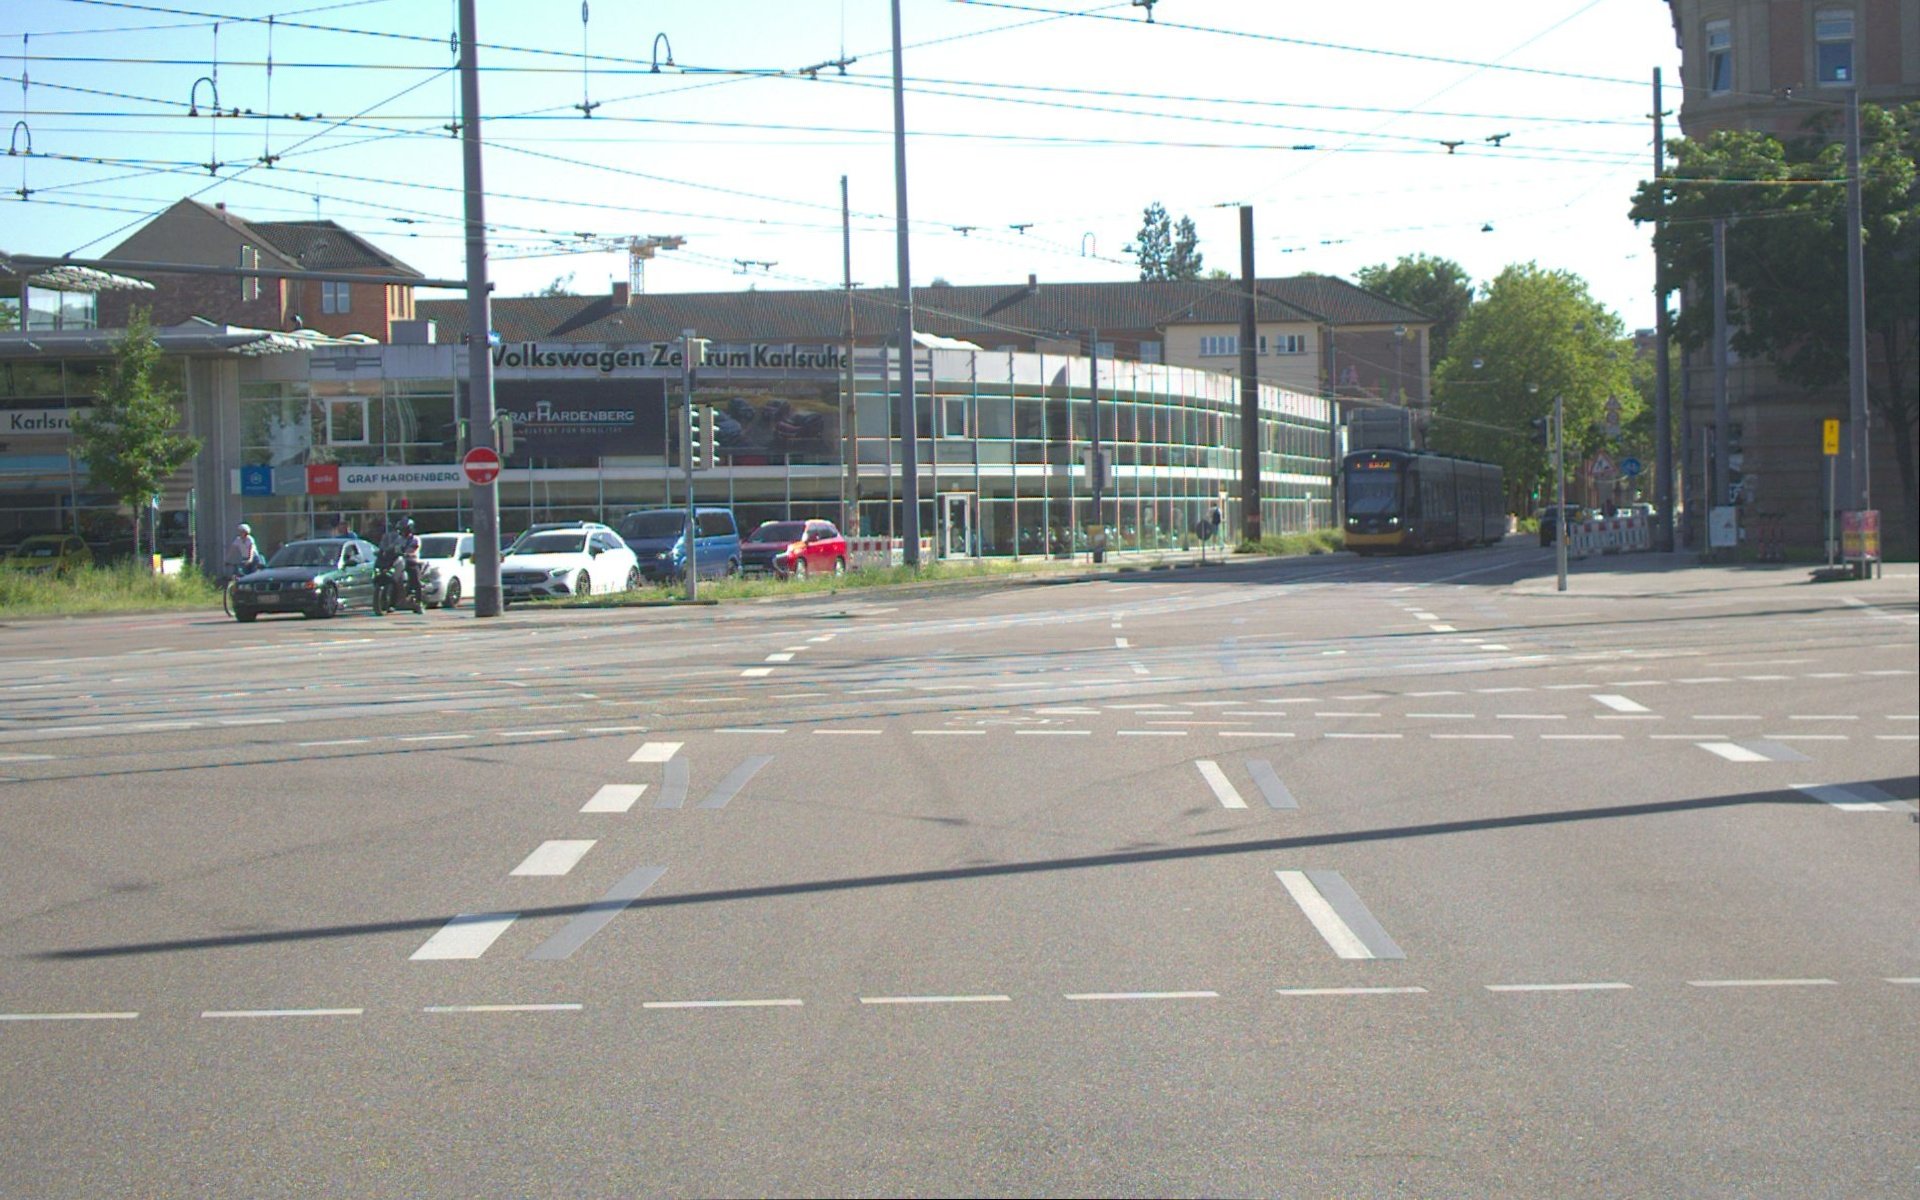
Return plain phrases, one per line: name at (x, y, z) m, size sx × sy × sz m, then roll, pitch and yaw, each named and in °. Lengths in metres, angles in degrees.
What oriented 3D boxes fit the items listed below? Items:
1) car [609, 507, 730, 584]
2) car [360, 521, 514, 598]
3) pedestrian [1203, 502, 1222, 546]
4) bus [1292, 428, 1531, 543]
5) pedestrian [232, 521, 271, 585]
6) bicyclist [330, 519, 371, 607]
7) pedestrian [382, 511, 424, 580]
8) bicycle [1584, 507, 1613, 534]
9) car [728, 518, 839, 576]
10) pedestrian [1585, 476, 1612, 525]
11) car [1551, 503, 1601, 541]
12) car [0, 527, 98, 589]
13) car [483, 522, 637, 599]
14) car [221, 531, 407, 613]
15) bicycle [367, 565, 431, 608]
car at (-6.649, -1.271, 78.955) m, size 1.627 × 1.686 × 3.683 m, roll -1°, pitch 1°, yaw 14°
car at (-10.124, -0.805, 66.825) m, size 1.627 × 1.419 × 3.683 m, roll -1°, pitch 1°, yaw 14°
pedestrian at (9.741, -2.937, 132.581) m, size 0.543 × 1.683 × 0.629 m, roll -1°, pitch 1°, yaw 20°
bus at (16.470, -3.892, 122.484) m, size 3.840 × 3.595 × 24.844 m, roll 1°, pitch 1°, yaw 18°
pedestrian at (-13.517, -0.900, 65.584) m, size 0.423 × 1.200 × 0.680 m, roll -1°, pitch 1°, yaw 18°
bicyclist at (-12.039, -0.731, 67.911) m, size 0.569 × 1.708 × 0.648 m, roll -1°, pitch 1°, yaw 12°
pedestrian at (-9.785, -0.956, 60.375) m, size 0.423 × 1.200 × 0.749 m, roll -1°, pitch 1°, yaw 17°
bicycle at (21.632, -2.698, 116.416) m, size 0.743 × 0.867 × 1.930 m, roll -1°, pitch 1°, yaw 16°
car at (-4.401, -1.343, 86.082) m, size 1.627 × 1.359 × 3.683 m, roll -1°, pitch 1°, yaw 16°
pedestrian at (21.694, -3.381, 116.794) m, size 0.803 × 1.626 × 0.717 m, roll -1°, pitch 1°, yaw 17°
car at (25.211, -3.211, 140.653) m, size 1.700 × 1.497 × 4.262 m, roll -1°, pitch 1°, yaw 14°
car at (-26.537, -1.235, 99.873) m, size 1.966 × 1.700 × 4.084 m, roll -1°, pitch 1°, yaw -1°
car at (-7.525, -0.768, 64.943) m, size 1.627 × 1.377 × 3.735 m, roll -1°, pitch 1°, yaw 14°
car at (-11.392, -0.509, 60.873) m, size 1.705 × 1.349 × 3.698 m, roll -1°, pitch 1°, yaw 17°
bicycle at (-9.822, -0.241, 60.208) m, size 0.423 × 0.715 × 1.633 m, roll -1°, pitch 1°, yaw 17°
